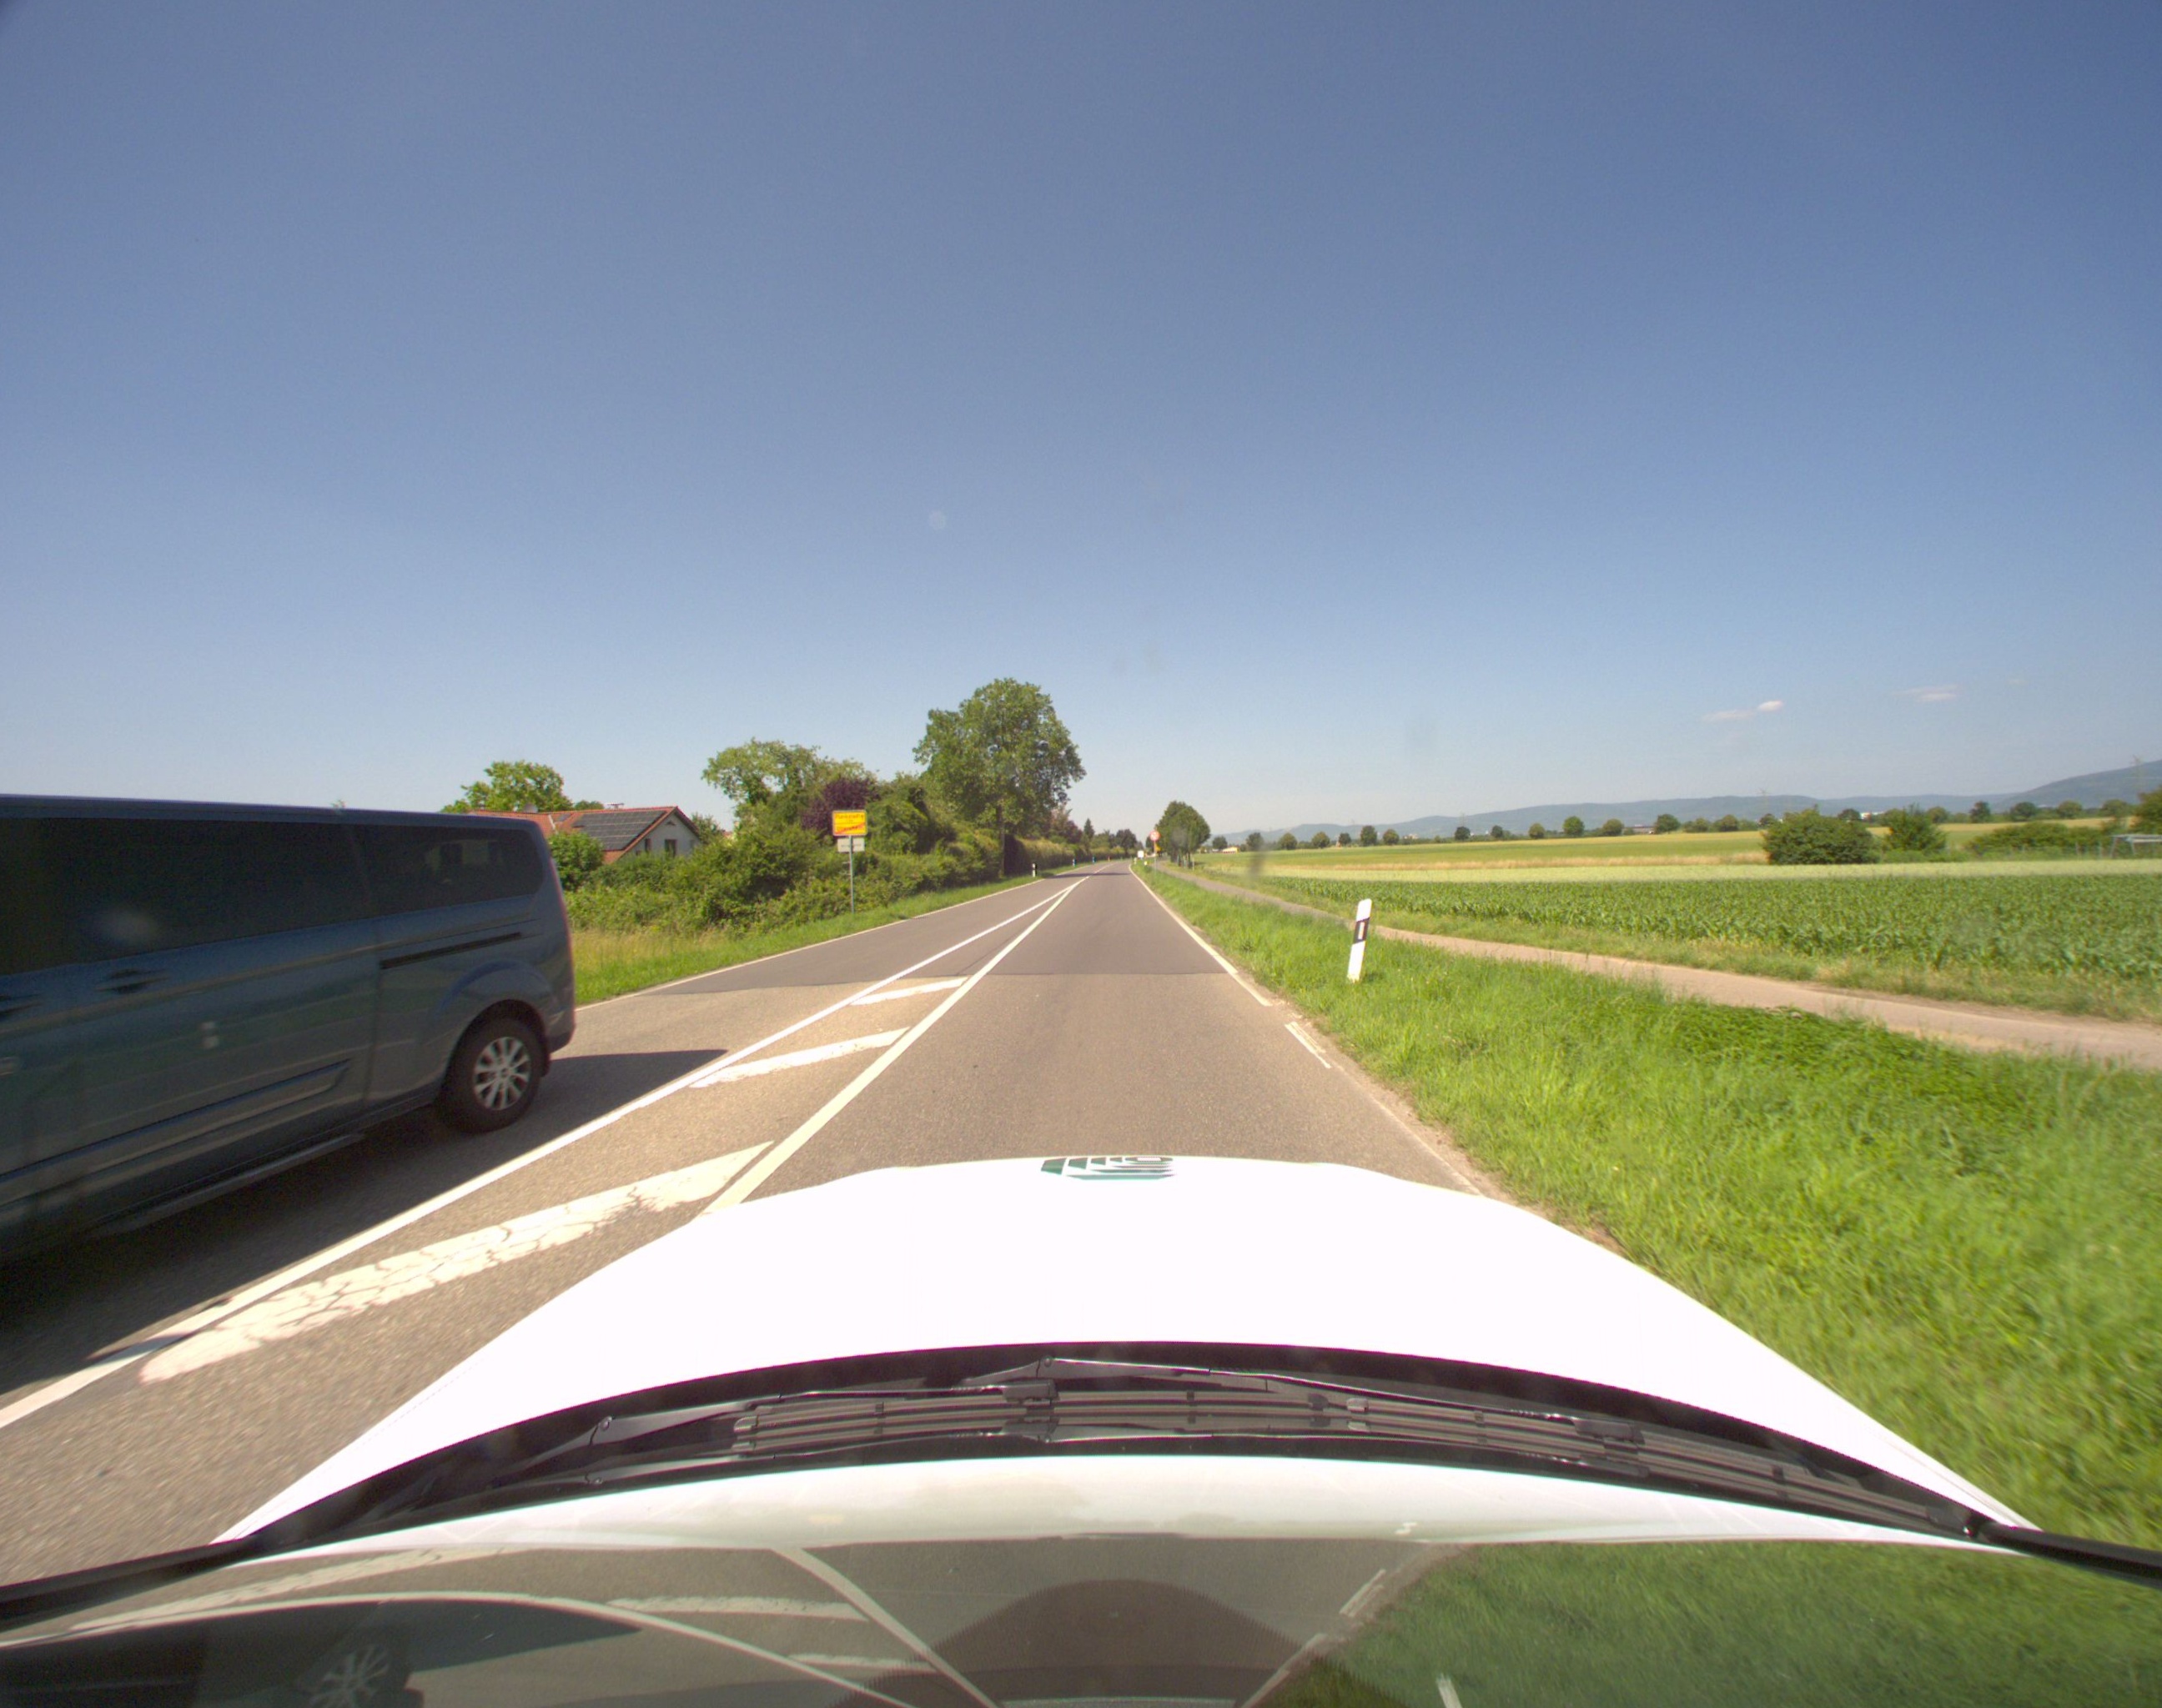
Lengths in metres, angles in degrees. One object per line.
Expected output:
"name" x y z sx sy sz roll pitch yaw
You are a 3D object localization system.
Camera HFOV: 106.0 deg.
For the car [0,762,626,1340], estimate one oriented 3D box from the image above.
"car" -4.710 0.716 3.618 2.136 1.951 5.251 -3 0 3
